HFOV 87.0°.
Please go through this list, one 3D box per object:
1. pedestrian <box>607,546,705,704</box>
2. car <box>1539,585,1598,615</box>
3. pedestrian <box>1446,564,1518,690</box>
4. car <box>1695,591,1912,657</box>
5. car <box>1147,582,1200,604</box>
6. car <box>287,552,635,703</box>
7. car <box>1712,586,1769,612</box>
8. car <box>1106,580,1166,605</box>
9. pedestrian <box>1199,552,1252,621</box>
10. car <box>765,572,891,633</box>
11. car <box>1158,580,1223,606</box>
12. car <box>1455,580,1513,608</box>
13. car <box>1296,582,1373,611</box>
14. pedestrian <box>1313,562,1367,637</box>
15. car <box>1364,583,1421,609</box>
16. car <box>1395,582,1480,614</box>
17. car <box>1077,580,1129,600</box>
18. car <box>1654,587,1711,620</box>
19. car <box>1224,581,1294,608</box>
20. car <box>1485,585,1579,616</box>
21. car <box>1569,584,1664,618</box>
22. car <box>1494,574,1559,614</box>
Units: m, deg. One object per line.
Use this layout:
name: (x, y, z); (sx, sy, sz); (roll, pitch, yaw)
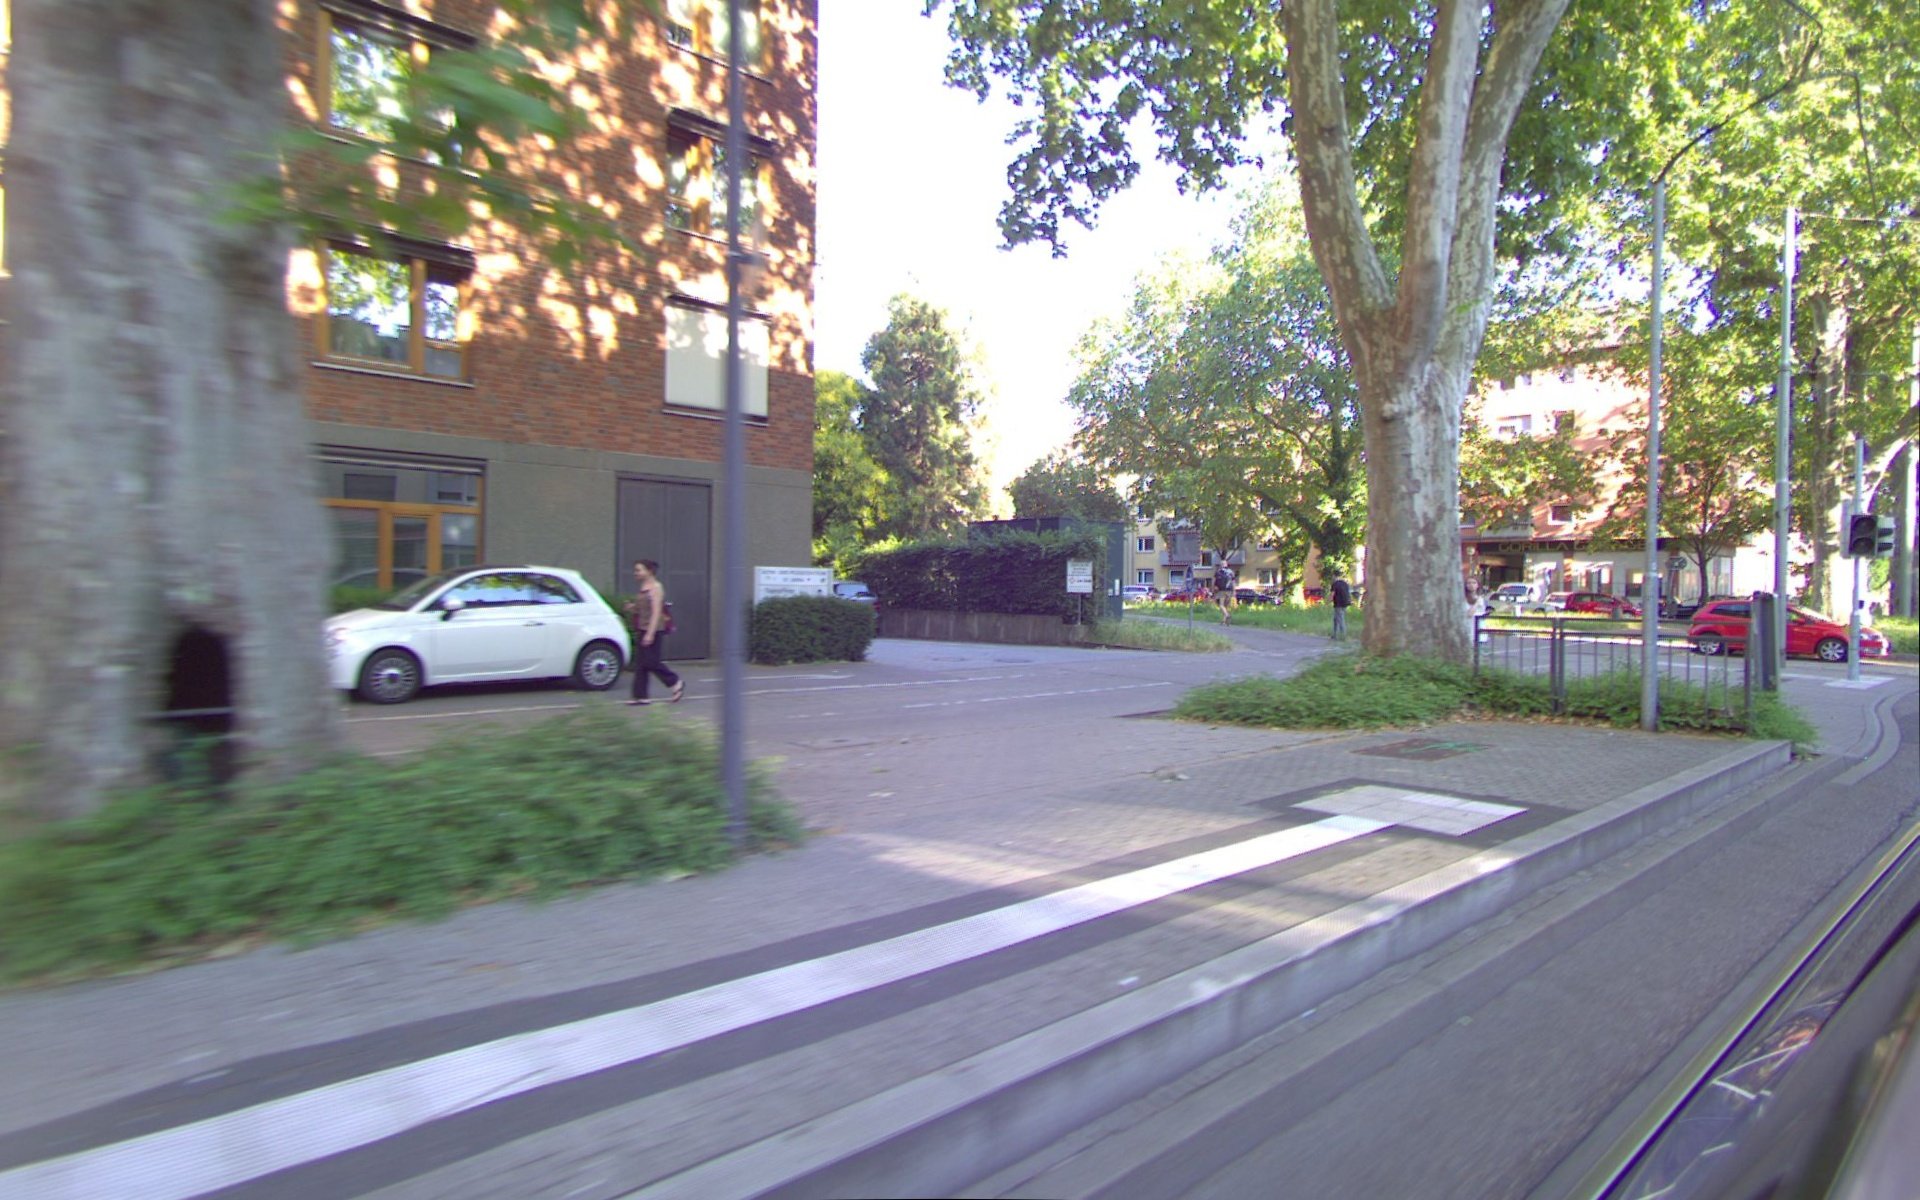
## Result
pedestrian: (-3.417, 0.257, 11.369); (0.820, 1.689, 0.737); (0, 1, -41)
car: (34.791, -0.011, 57.821); (4.503, 1.594, 1.790); (0, 2, -45)
pedestrian: (7.269, 0.355, 14.085); (0.725, 1.689, 0.653); (0, 1, -41)
car: (20.944, 0.532, 25.267); (1.618, 1.441, 3.896); (0, 1, -37)
car: (16.390, -0.548, 77.687); (4.503, 1.594, 1.790); (0, 2, -45)
car: (-5.767, 0.253, 11.876); (3.359, 1.514, 1.603); (0, 1, -42)
car: (45.387, -0.062, 58.794); (4.389, 1.452, 1.752); (0, 2, -41)
car: (12.237, -0.537, 70.561); (1.655, 1.601, 3.923); (0, 2, -42)
pedestrian: (7.603, -0.384, 28.952); (0.983, 1.886, 1.000); (6, 4, 44)
car: (-3.814, 0.037, 28.736); (1.759, 1.584, 3.997); (0, 1, -38)
car: (15.307, -0.457, 67.357); (1.655, 1.601, 3.923); (0, 2, -42)
car: (31.625, -0.341, 61.011); (4.503, 1.594, 1.790); (0, 2, -45)
car: (22.185, -0.244, 60.028); (1.655, 1.601, 3.923); (0, 2, -42)
pedestrian: (9.574, -0.033, 25.517); (0.995, 1.833, 0.850); (2, 1, 44)
car: (28.029, -0.256, 65.495); (4.503, 1.594, 1.790); (0, 2, -45)
car: (26.285, -0.142, 55.800); (1.655, 1.601, 3.923); (0, 2, -42)
car: (11.736, -0.800, 82.916); (4.503, 1.594, 1.790); (0, 2, -45)
car: (38.205, 0.160, 53.466); (1.789, 1.594, 4.505); (2, 2, 44)
car: (18.719, -0.365, 63.403); (1.655, 1.601, 3.923); (0, 2, -42)
car: (29.445, 0.008, 52.177); (1.655, 1.470, 3.923); (0, 2, -42)
car: (31.755, 0.026, 48.996); (1.655, 1.470, 3.543); (0, 2, -42)
car: (33.282, -0.363, 59.383); (5.000, 2.211, 1.914); (0, 1, -44)
